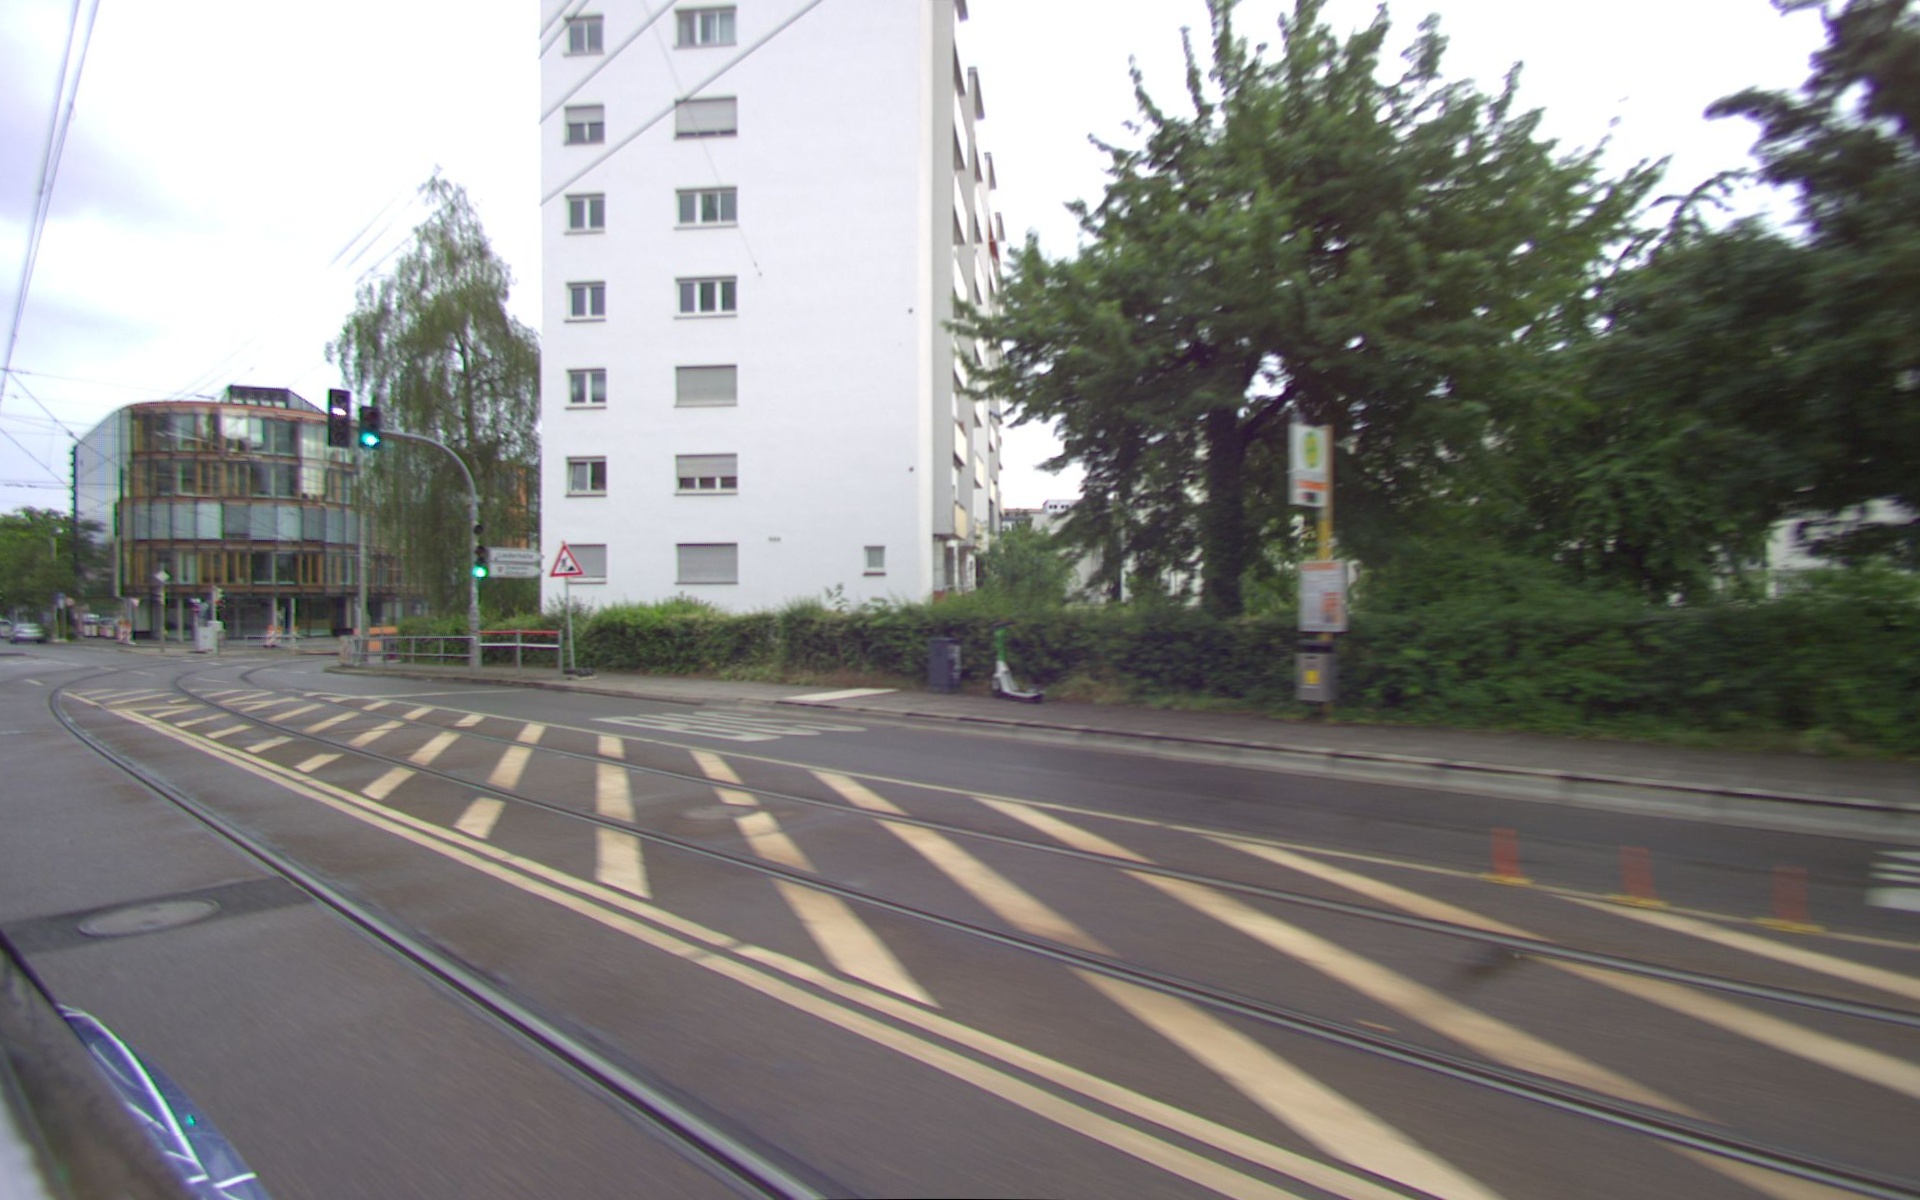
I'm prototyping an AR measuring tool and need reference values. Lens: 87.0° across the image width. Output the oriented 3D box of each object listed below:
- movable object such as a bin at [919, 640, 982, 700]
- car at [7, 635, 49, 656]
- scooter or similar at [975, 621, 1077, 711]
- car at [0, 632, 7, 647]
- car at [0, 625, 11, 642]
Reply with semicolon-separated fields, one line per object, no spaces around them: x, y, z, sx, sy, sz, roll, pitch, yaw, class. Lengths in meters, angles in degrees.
-0.151;1.118;16.403;0.759;0.888;0.680;0;1;38;movable object such as a bin
-67.337;3.283;73.105;4.644;1.405;1.838;-2;-1;43;car
0.941;0.929;14.795;0.565;1.193;1.603;-1;1;-37;scooter or similar
-96.212;3.909;100.545;3.998;1.408;1.856;0;0;41;car
-99.567;3.447;104.497;3.998;1.722;1.856;0;0;41;car
